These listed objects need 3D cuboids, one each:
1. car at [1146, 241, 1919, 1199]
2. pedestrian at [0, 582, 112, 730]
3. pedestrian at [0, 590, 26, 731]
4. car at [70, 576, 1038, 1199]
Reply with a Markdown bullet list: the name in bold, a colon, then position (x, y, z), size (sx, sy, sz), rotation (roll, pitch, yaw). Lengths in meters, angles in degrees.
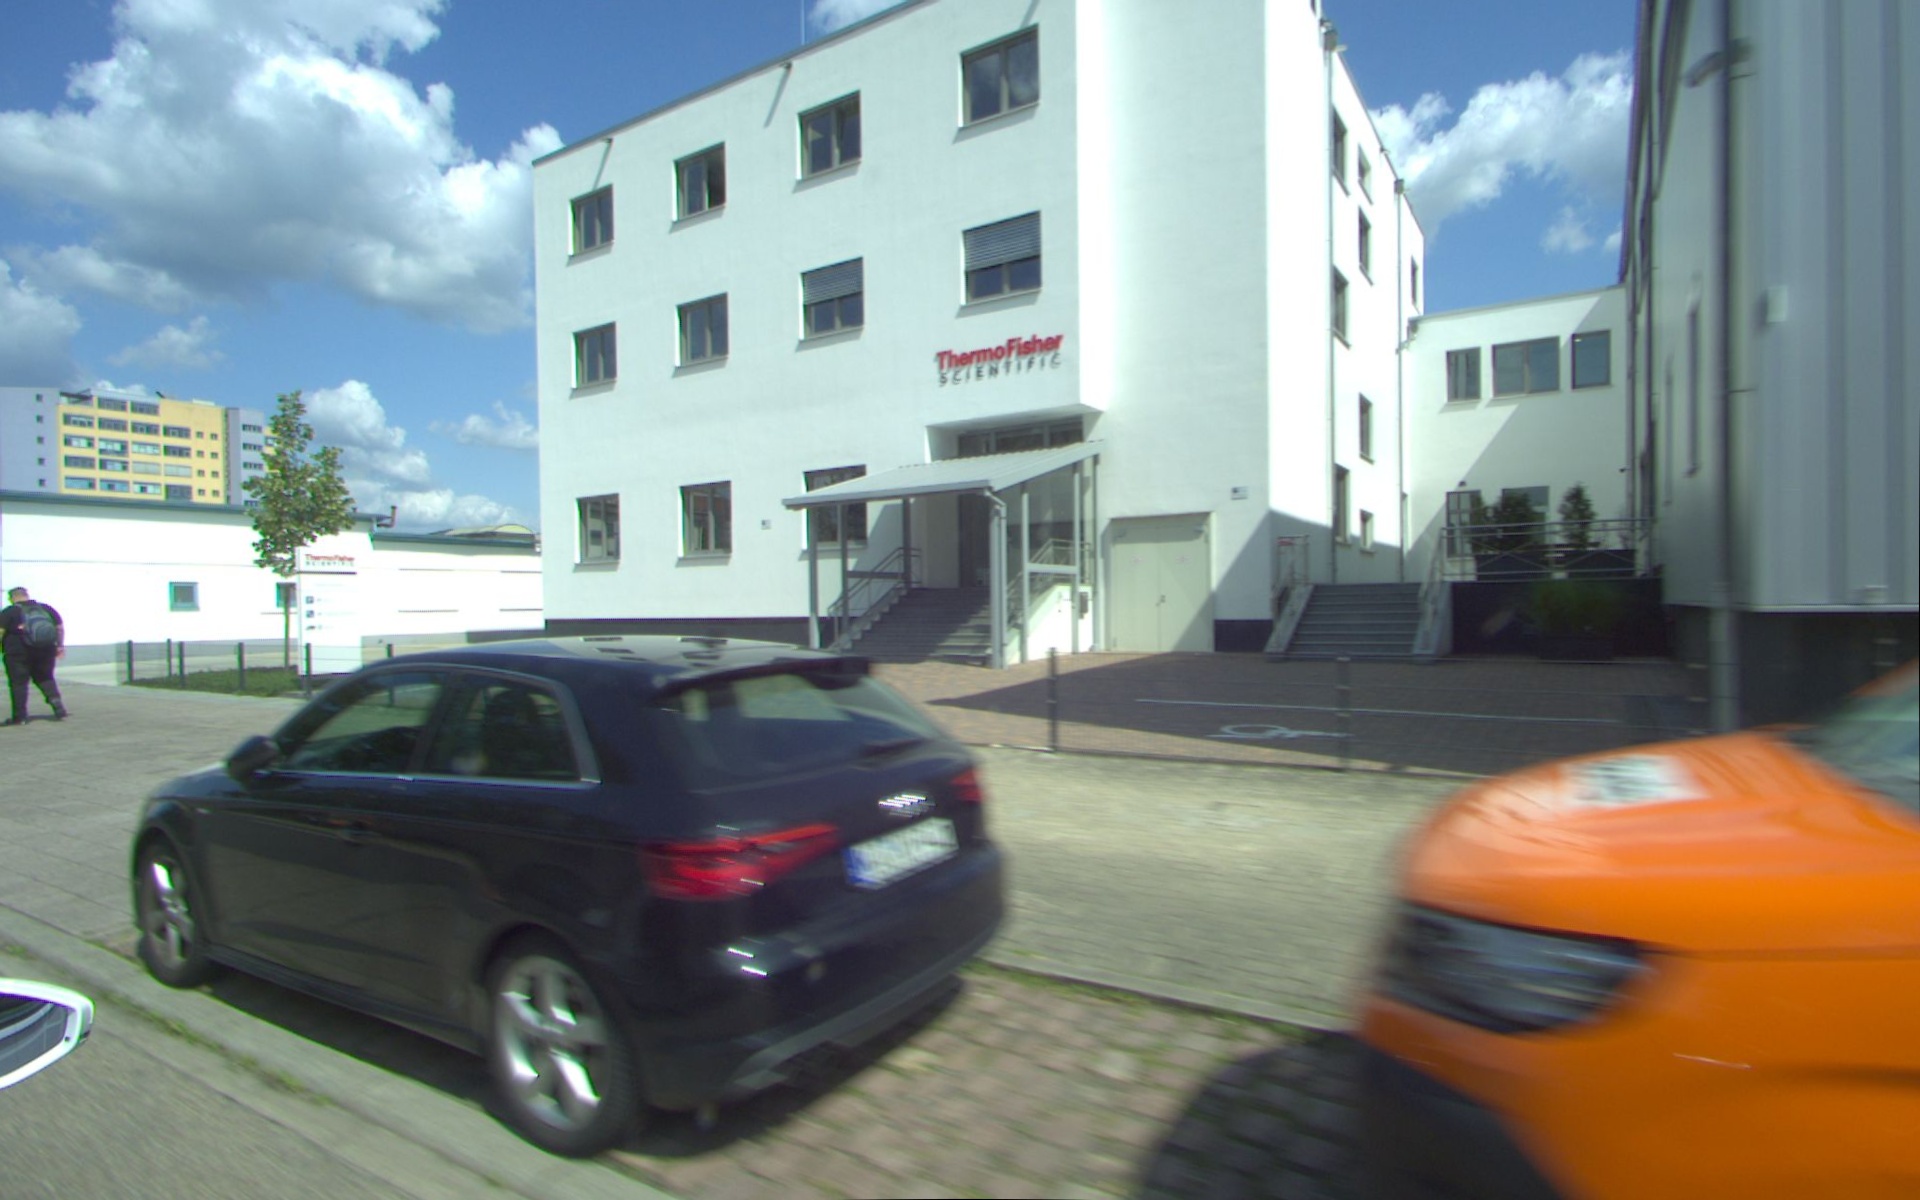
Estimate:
- **car**: position (2.642, 0.592, 1.250), size (4.387, 1.915, 1.871), rotation (-1, -4, 31)
- **pedestrian**: position (-12.806, 0.754, 13.967), size (1.070, 1.978, 0.992), rotation (-1, 1, 9)
- **pedestrian**: position (-12.976, 0.799, 12.938), size (0.986, 1.832, 0.858), rotation (-1, 1, 9)
- **car**: position (-1.879, 0.811, 4.150), size (4.119, 1.577, 1.656), rotation (-1, -3, 33)
